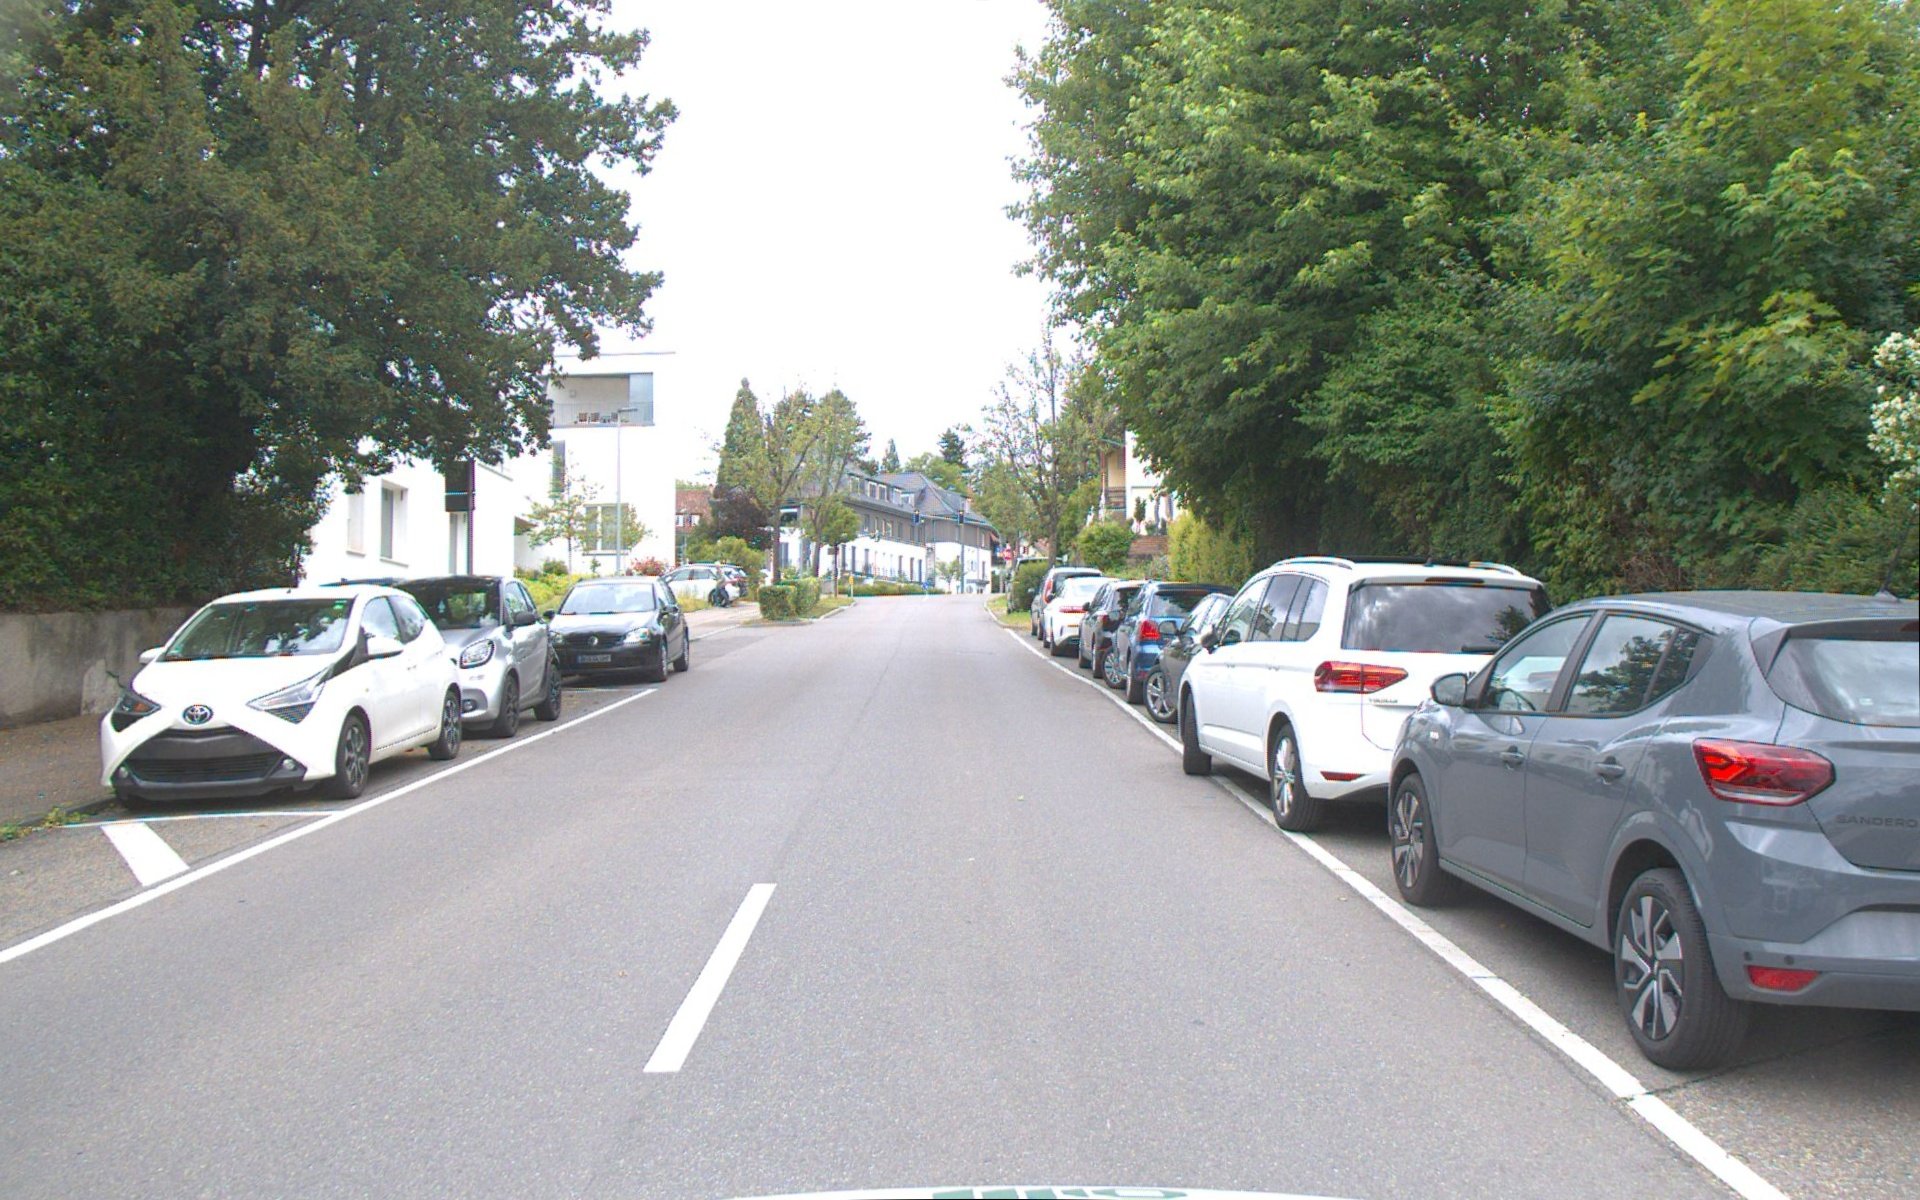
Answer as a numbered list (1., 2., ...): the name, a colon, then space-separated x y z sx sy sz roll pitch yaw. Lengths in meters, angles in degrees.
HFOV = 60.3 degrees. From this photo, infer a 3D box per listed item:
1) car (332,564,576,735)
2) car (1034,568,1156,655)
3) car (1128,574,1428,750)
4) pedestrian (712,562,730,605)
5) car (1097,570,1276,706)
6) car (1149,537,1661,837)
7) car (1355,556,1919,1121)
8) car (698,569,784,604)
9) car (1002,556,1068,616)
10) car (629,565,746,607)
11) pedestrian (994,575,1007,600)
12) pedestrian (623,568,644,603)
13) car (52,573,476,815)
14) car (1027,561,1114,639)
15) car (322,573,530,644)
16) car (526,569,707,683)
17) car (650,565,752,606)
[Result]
1. car: -4.964 0.437 16.583 1.591 1.545 2.974 0 0 -2
2. car: 2.527 0.150 32.105 1.953 1.517 5.005 -1 1 0
3. car: 2.957 0.504 16.359 1.774 1.478 4.374 -1 1 -5
4. pedestrian: -9.244 -0.638 64.024 0.581 1.669 0.565 -1 0 0
5. car: 2.812 0.410 21.330 1.663 1.534 4.160 2 1 -1
6. car: 2.795 0.440 11.683 1.962 1.636 4.754 -1 1 -5
7. car: 3.161 0.596 6.746 1.898 1.517 4.455 -1 1 -2
8. car: -11.179 -0.698 84.613 4.175 1.651 2.012 -1 0 -4
9. car: 2.419 -0.474 54.711 1.896 1.870 5.219 0 1 0
10. car: -10.794 -0.569 65.779 4.298 1.594 2.066 -1 1 -2
11. pedestrian: 2.838 -0.892 116.903 0.671 1.711 0.699 0 1 30
12. pedestrian: -12.529 -0.549 63.455 0.594 1.305 0.899 1 0 -1
13. car: -4.988 0.579 12.402 1.709 1.473 3.512 -3 1 -2
14. car: 2.506 -0.027 38.350 1.682 1.661 3.928 1 1 -1
15. car: -10.770 0.160 33.583 3.721 1.378 1.739 0 1 -6
16. car: -4.943 0.307 24.407 1.813 1.495 4.681 -1 1 -2
17. car: -10.683 -0.605 68.374 3.905 1.682 2.009 0 1 0
